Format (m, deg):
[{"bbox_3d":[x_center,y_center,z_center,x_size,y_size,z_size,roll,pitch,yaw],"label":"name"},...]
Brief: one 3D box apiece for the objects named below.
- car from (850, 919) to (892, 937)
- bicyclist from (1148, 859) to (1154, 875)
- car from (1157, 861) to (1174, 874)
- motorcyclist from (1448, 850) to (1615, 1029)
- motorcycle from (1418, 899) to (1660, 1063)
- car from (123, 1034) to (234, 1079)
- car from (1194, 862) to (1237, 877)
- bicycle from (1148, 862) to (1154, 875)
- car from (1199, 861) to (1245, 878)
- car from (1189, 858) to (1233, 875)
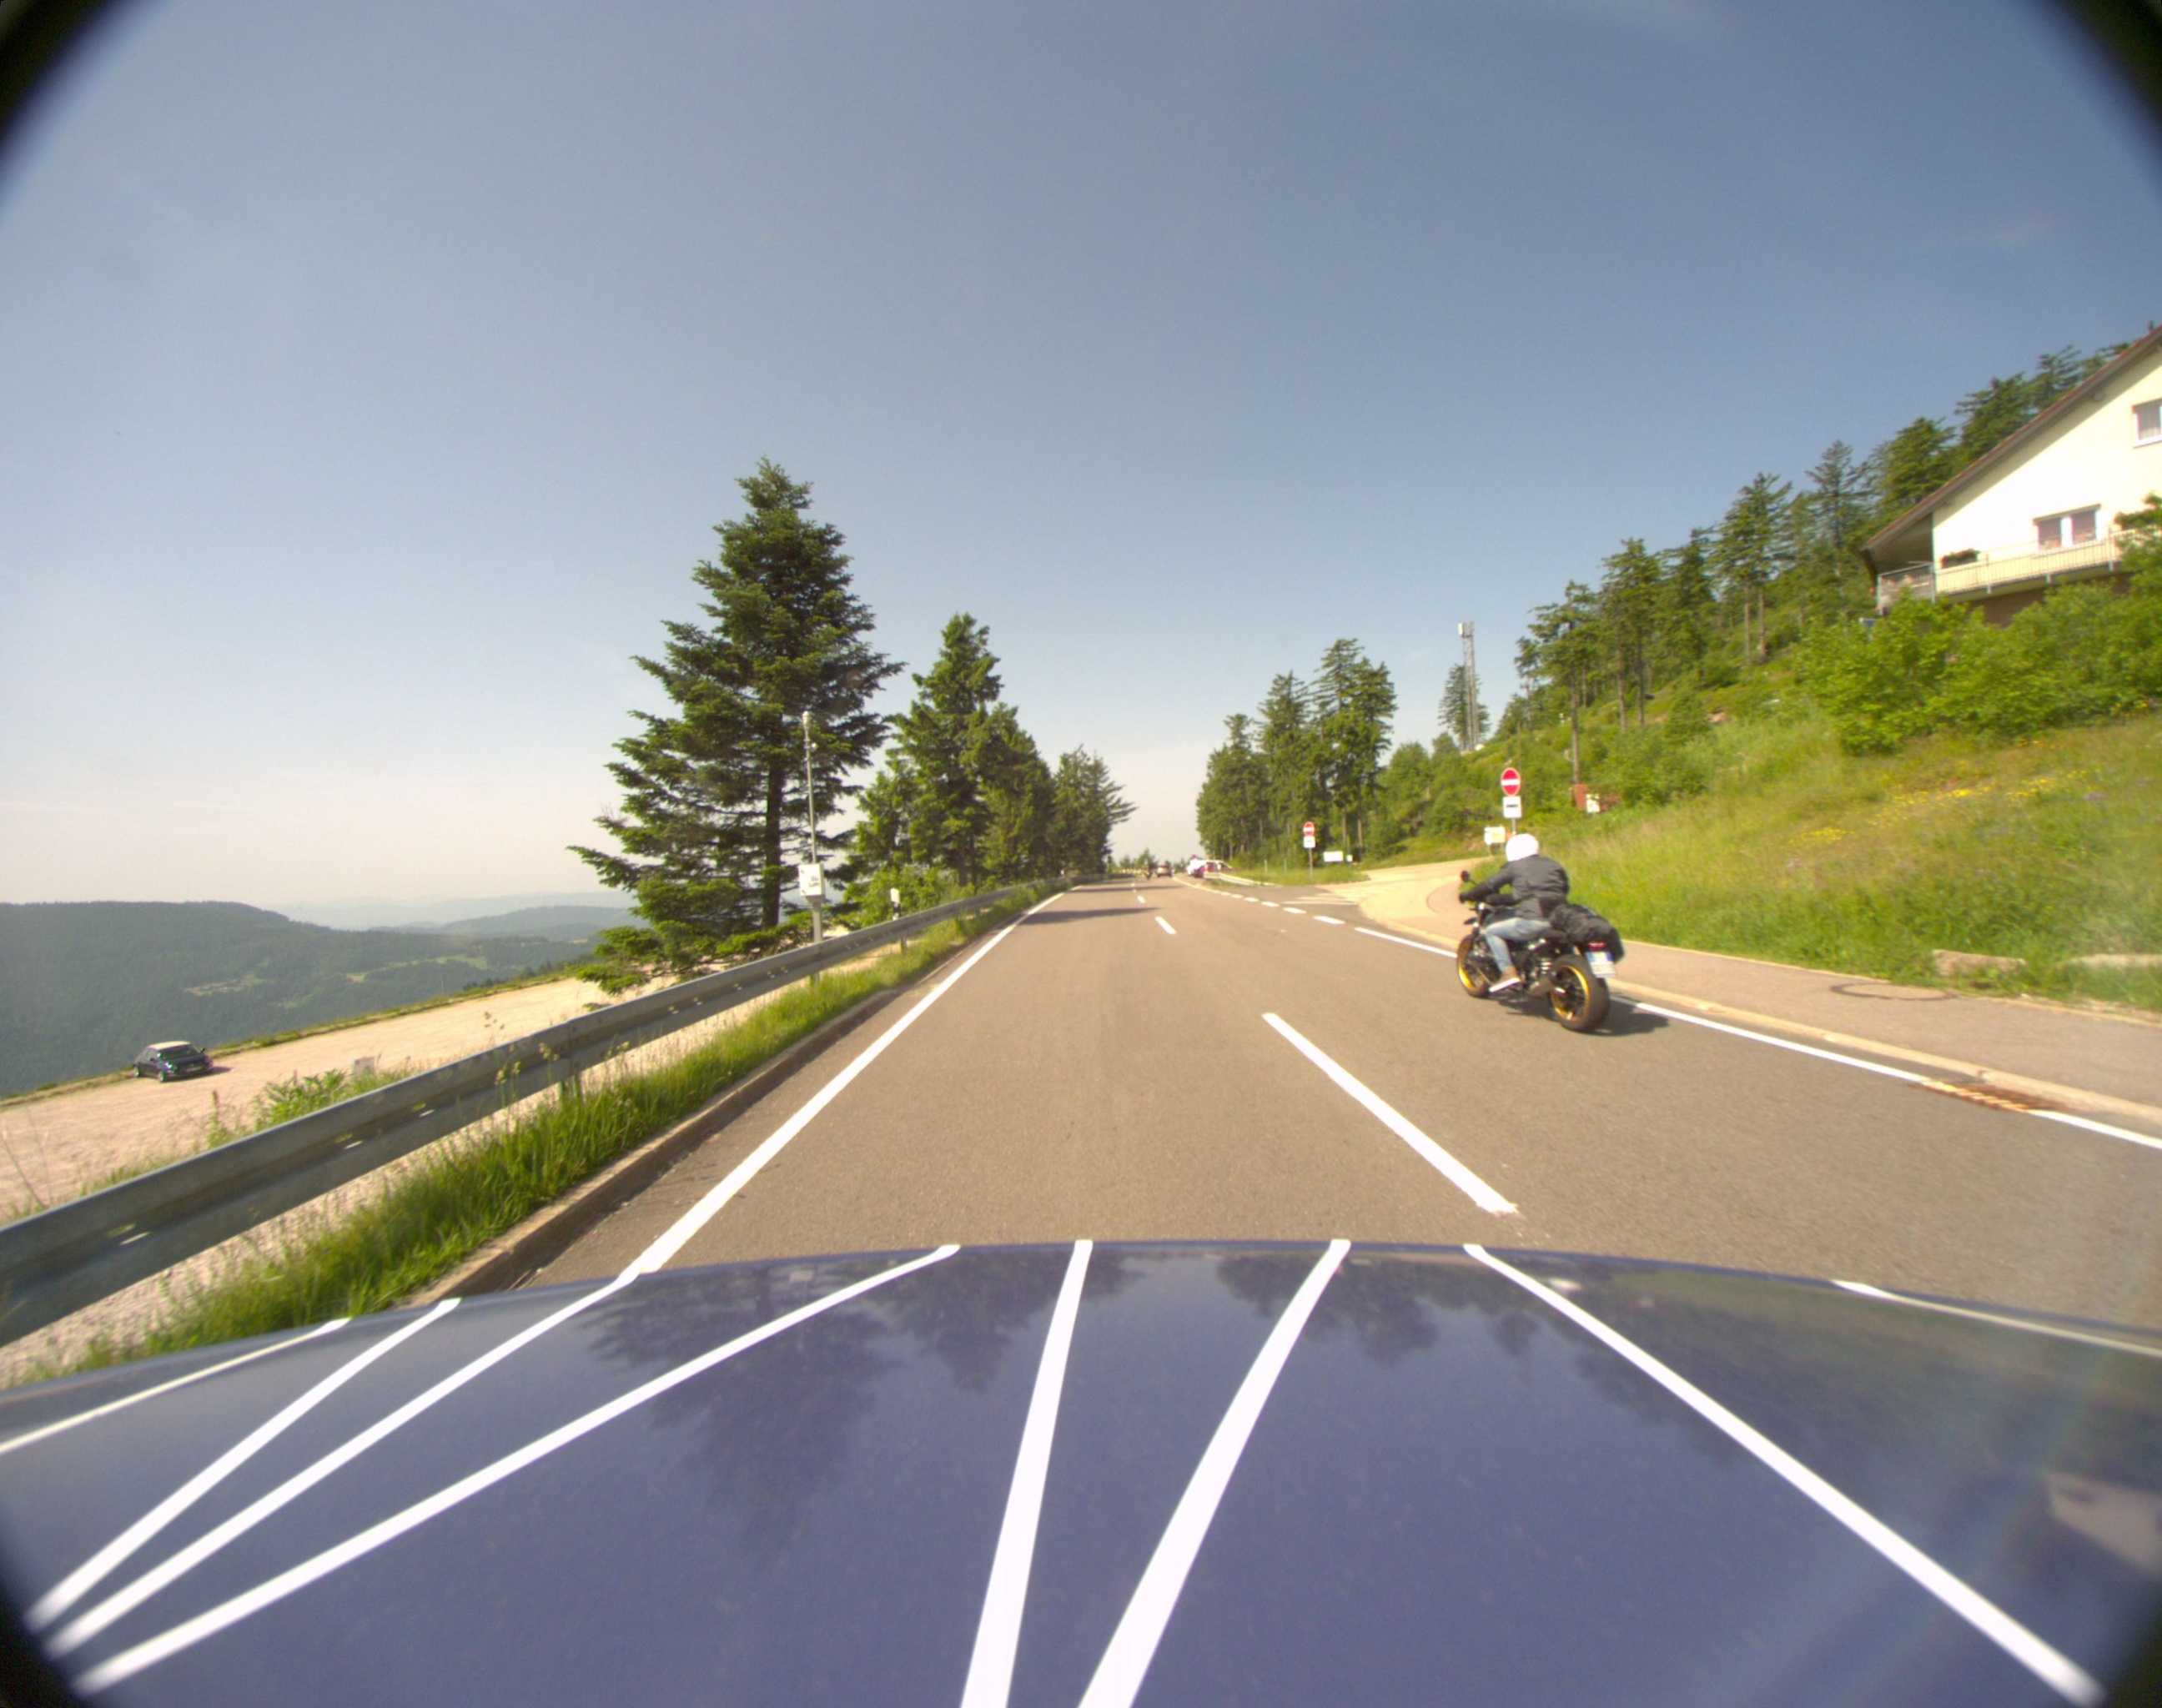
[{"bbox_3d":[-22.313,7.833,80.790,3.771,1.587,1.845,-3,2,17],"label":"car"},{"bbox_3d":[6.861,1.278,74.345,0.546,1.519,0.679,-1,0,5],"label":"bicyclist"},{"bbox_3d":[10.866,1.708,97.240,1.997,1.586,4.002,-1,0,8],"label":"car"},{"bbox_3d":[3.868,0.694,6.619,0.841,1.432,1.005,-1,0,1],"label":"motorcyclist"},{"bbox_3d":[3.883,1.012,6.730,0.841,1.089,2.183,-1,0,1],"label":"motorcycle"},{"bbox_3d":[-43.067,9.652,36.295,3.518,1.655,1.803,-3,0,9],"label":"car"},{"bbox_3d":[13.233,1.524,75.024,3.928,1.365,1.932,0,0,1],"label":"car"},{"bbox_3d":[6.854,1.440,74.306,0.546,1.220,1.859,-1,0,6],"label":"bicycle"},{"bbox_3d":[13.388,1.462,72.365,4.158,1.501,1.933,0,0,6],"label":"car"},{"bbox_3d":[14.705,1.397,86.260,4.728,1.871,1.932,0,0,1],"label":"car"}]
